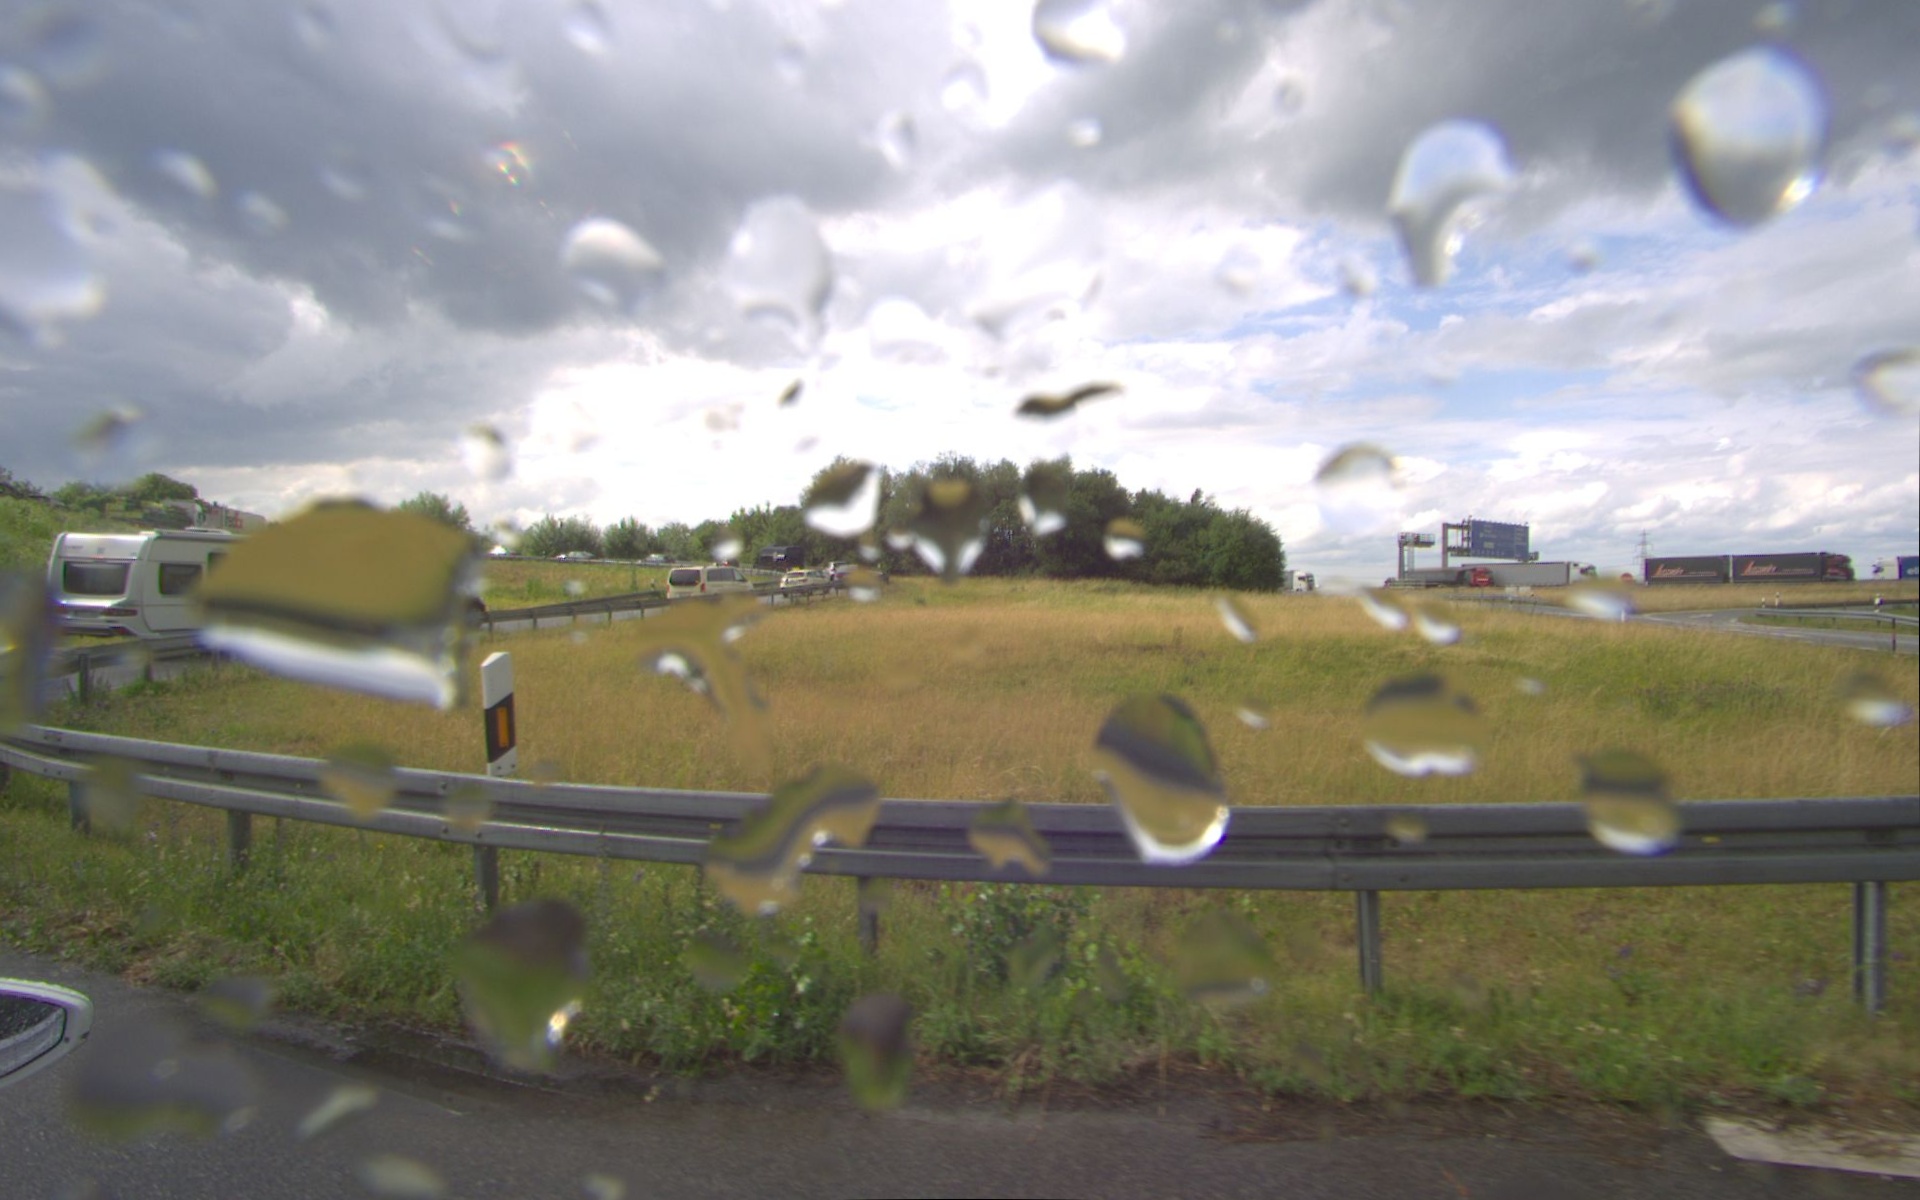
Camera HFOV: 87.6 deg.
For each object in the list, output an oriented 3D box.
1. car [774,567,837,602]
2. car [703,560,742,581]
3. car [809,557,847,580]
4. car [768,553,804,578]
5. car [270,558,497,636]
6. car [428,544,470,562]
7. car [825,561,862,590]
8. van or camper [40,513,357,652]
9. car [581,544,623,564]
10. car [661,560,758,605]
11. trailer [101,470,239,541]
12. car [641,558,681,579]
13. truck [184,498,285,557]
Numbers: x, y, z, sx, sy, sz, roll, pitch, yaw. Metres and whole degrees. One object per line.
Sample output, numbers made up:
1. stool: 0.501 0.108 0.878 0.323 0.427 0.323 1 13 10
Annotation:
1. car: -8.798 -0.877 57.628 1.962 1.886 5.053 0 1 11
2. car: -23.810 -2.906 100.221 3.955 2.041 1.983 1 1 42
3. car: -10.843 -2.527 81.993 1.640 1.808 5.036 0 1 -25
4. car: -15.994 -3.122 91.737 1.972 2.039 3.978 1 -1 -31
5. car: -16.432 -0.118 29.017 2.390 1.952 5.753 3 1 13
6. car: -59.454 -5.465 116.547 3.922 2.040 2.000 0 0 5
7. car: -7.814 -1.599 67.681 1.961 1.886 5.056 0 1 -1
8. van or camper: -17.378 -0.412 23.424 2.391 2.767 5.997 2 1 7
9. car: -38.813 -4.964 108.560 3.930 2.040 1.997 0 -1 20
10. car: -11.061 -0.759 44.664 1.963 1.886 5.050 0 1 15
11. trailer: -70.241 -8.097 89.971 4.356 4.006 20.157 1 -1 -23
12. car: -31.944 -3.366 107.013 3.943 2.041 1.988 3 2 34
13. truck: -77.722 -7.515 107.923 4.402 4.561 19.317 1 -1 -23
